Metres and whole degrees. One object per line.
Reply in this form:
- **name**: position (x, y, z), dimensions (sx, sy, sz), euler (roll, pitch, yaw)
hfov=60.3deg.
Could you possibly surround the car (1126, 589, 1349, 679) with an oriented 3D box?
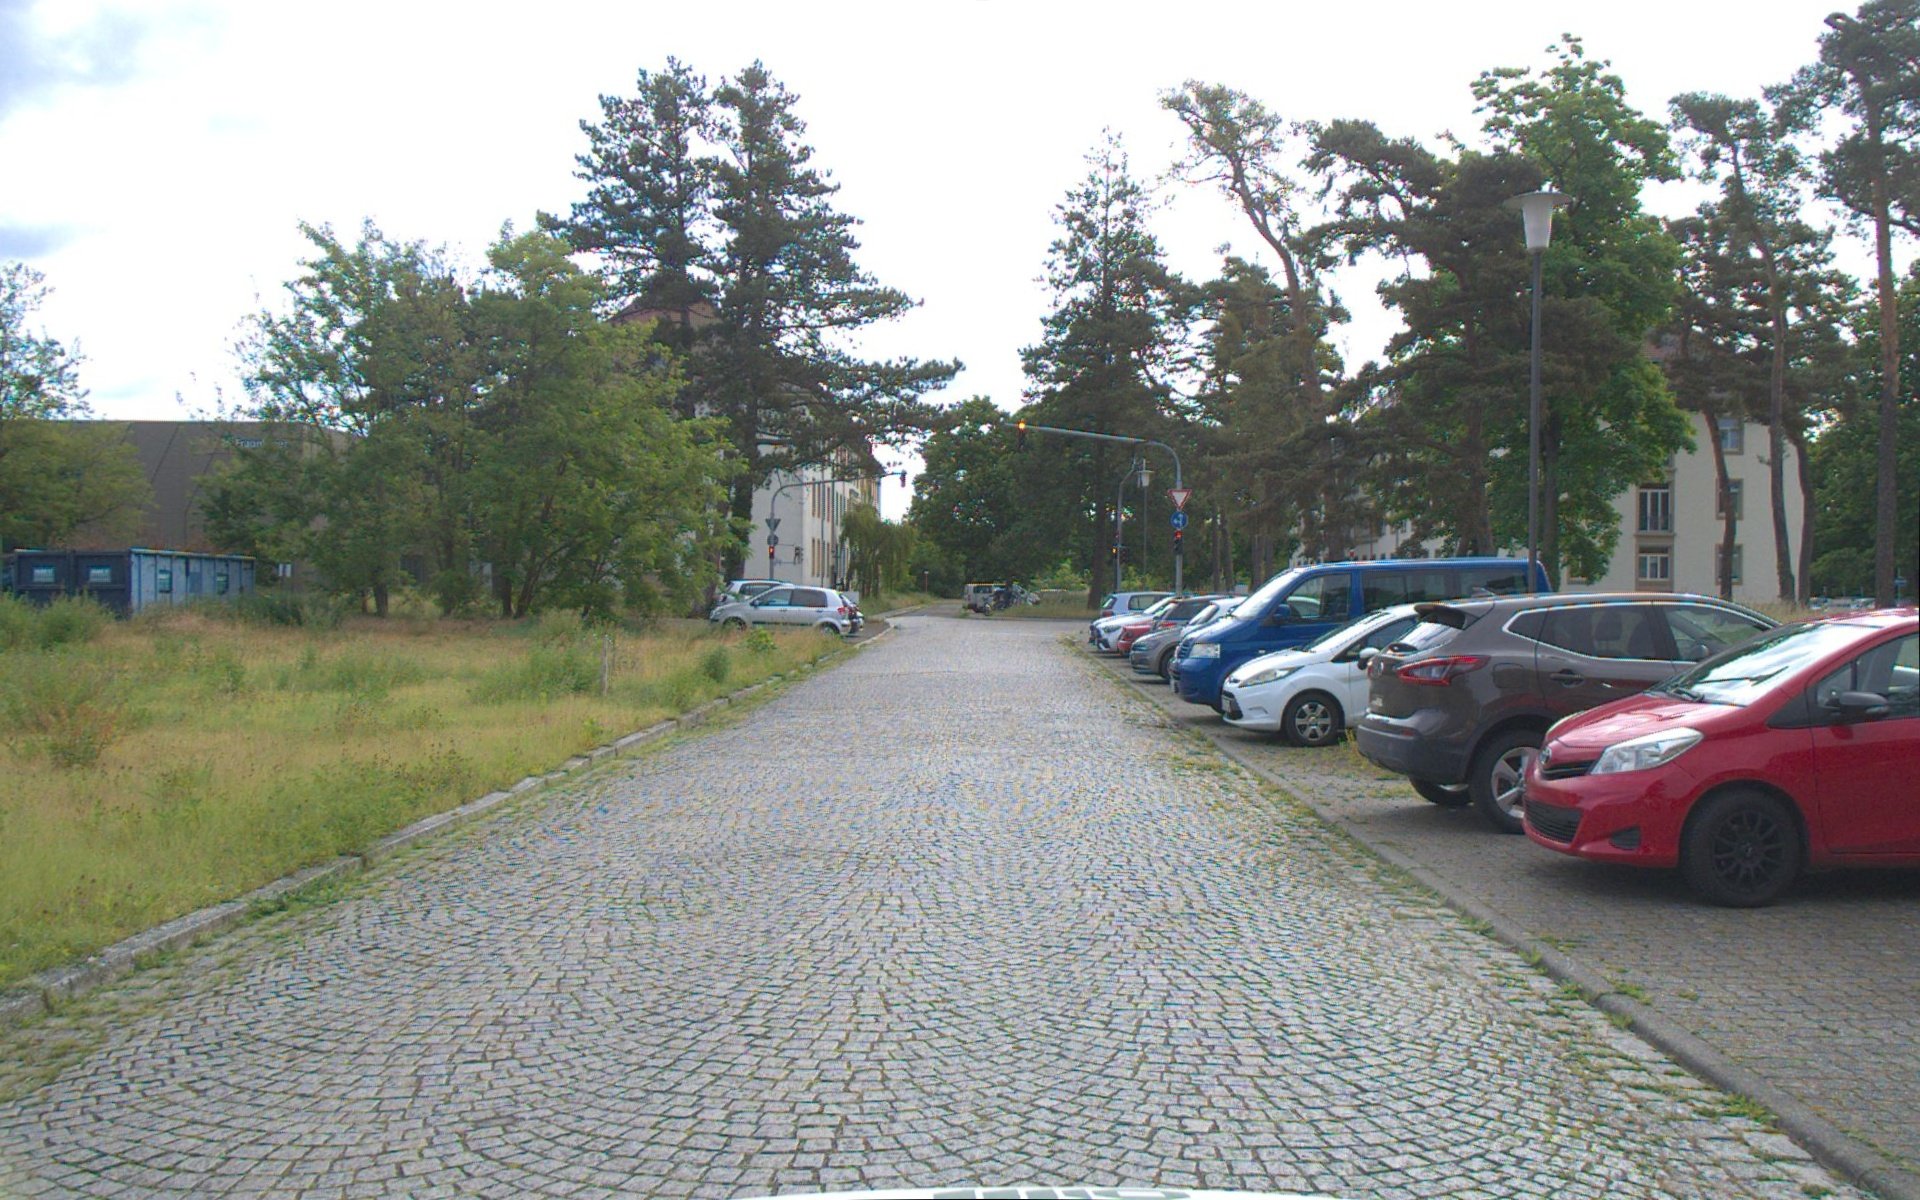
- **car**: position (4.787, 0.574, 28.839), dimensions (3.597, 1.475, 1.523), euler (-1, 0, -1)

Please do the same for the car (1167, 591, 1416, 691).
- **car**: position (5.167, 0.628, 26.056), dimensions (3.597, 1.475, 1.523), euler (-1, 0, -1)

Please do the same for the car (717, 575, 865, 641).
- **car**: position (-4.963, 0.235, 49.020), dimensions (4.175, 1.873, 1.744), euler (-1, 0, 0)

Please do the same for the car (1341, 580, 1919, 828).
- **car**: position (4.906, 0.676, 11.808), dimensions (3.947, 1.579, 1.750), euler (-1, 0, -2)

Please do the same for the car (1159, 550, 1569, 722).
- **car**: position (4.966, 0.430, 20.778), dimensions (4.658, 1.989, 1.931), euler (-1, 0, -1)

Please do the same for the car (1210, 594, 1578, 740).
- **car**: position (4.691, 0.701, 18.188), dimensions (3.598, 1.475, 1.614), euler (-1, 0, -2)

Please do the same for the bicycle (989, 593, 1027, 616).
- **bicycle**: position (2.708, 0.262, 93.540), dimensions (2.094, 1.236, 0.621), euler (1, 0, -4)

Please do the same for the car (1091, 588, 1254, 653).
- **car**: position (4.985, 0.476, 39.071), dimensions (3.599, 1.446, 1.523), euler (-1, 0, -4)

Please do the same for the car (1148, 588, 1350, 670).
- **car**: position (5.512, 0.545, 31.820), dimensions (3.597, 1.475, 1.523), euler (-1, 0, -1)

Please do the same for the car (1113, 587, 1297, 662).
- **car**: position (5.078, 0.502, 34.532), dimensions (3.597, 1.475, 1.523), euler (-1, 0, -1)

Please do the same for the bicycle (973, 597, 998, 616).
- **bicycle**: position (1.375, 0.357, 89.484), dimensions (0.612, 0.961, 1.649), euler (1, 0, -27)

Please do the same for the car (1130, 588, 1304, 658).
- **car**: position (5.684, 0.498, 36.810), dimensions (3.597, 1.475, 1.523), euler (-1, 0, -1)

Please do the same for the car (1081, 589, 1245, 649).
- **car**: position (5.106, 0.464, 41.925), dimensions (3.889, 1.446, 1.619), euler (-1, 0, -4)

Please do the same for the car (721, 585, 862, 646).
- **car**: position (-4.660, 0.420, 46.029), dimensions (3.743, 1.600, 1.564), euler (-1, 0, 0)

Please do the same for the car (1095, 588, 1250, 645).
- **car**: position (5.699, 0.434, 44.570), dimensions (3.889, 1.446, 1.619), euler (-1, 0, -4)

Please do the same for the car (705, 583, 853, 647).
- **car**: position (-4.732, 0.396, 43.613), dimensions (3.745, 1.600, 1.563), euler (-1, 0, -3)

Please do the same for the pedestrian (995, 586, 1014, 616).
- **pedestrian**: position (2.519, 0.047, 93.884), dimensions (1.013, 1.642, 0.757), euler (1, 0, -4)

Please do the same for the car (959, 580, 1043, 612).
- **car**: position (2.717, -0.274, 111.452), dimensions (5.344, 2.049, 2.264), euler (1, 0, -8)

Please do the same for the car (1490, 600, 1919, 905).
- **car**: position (5.069, 0.755, 9.138), dimensions (3.714, 1.485, 1.751), euler (-1, 0, 1)
